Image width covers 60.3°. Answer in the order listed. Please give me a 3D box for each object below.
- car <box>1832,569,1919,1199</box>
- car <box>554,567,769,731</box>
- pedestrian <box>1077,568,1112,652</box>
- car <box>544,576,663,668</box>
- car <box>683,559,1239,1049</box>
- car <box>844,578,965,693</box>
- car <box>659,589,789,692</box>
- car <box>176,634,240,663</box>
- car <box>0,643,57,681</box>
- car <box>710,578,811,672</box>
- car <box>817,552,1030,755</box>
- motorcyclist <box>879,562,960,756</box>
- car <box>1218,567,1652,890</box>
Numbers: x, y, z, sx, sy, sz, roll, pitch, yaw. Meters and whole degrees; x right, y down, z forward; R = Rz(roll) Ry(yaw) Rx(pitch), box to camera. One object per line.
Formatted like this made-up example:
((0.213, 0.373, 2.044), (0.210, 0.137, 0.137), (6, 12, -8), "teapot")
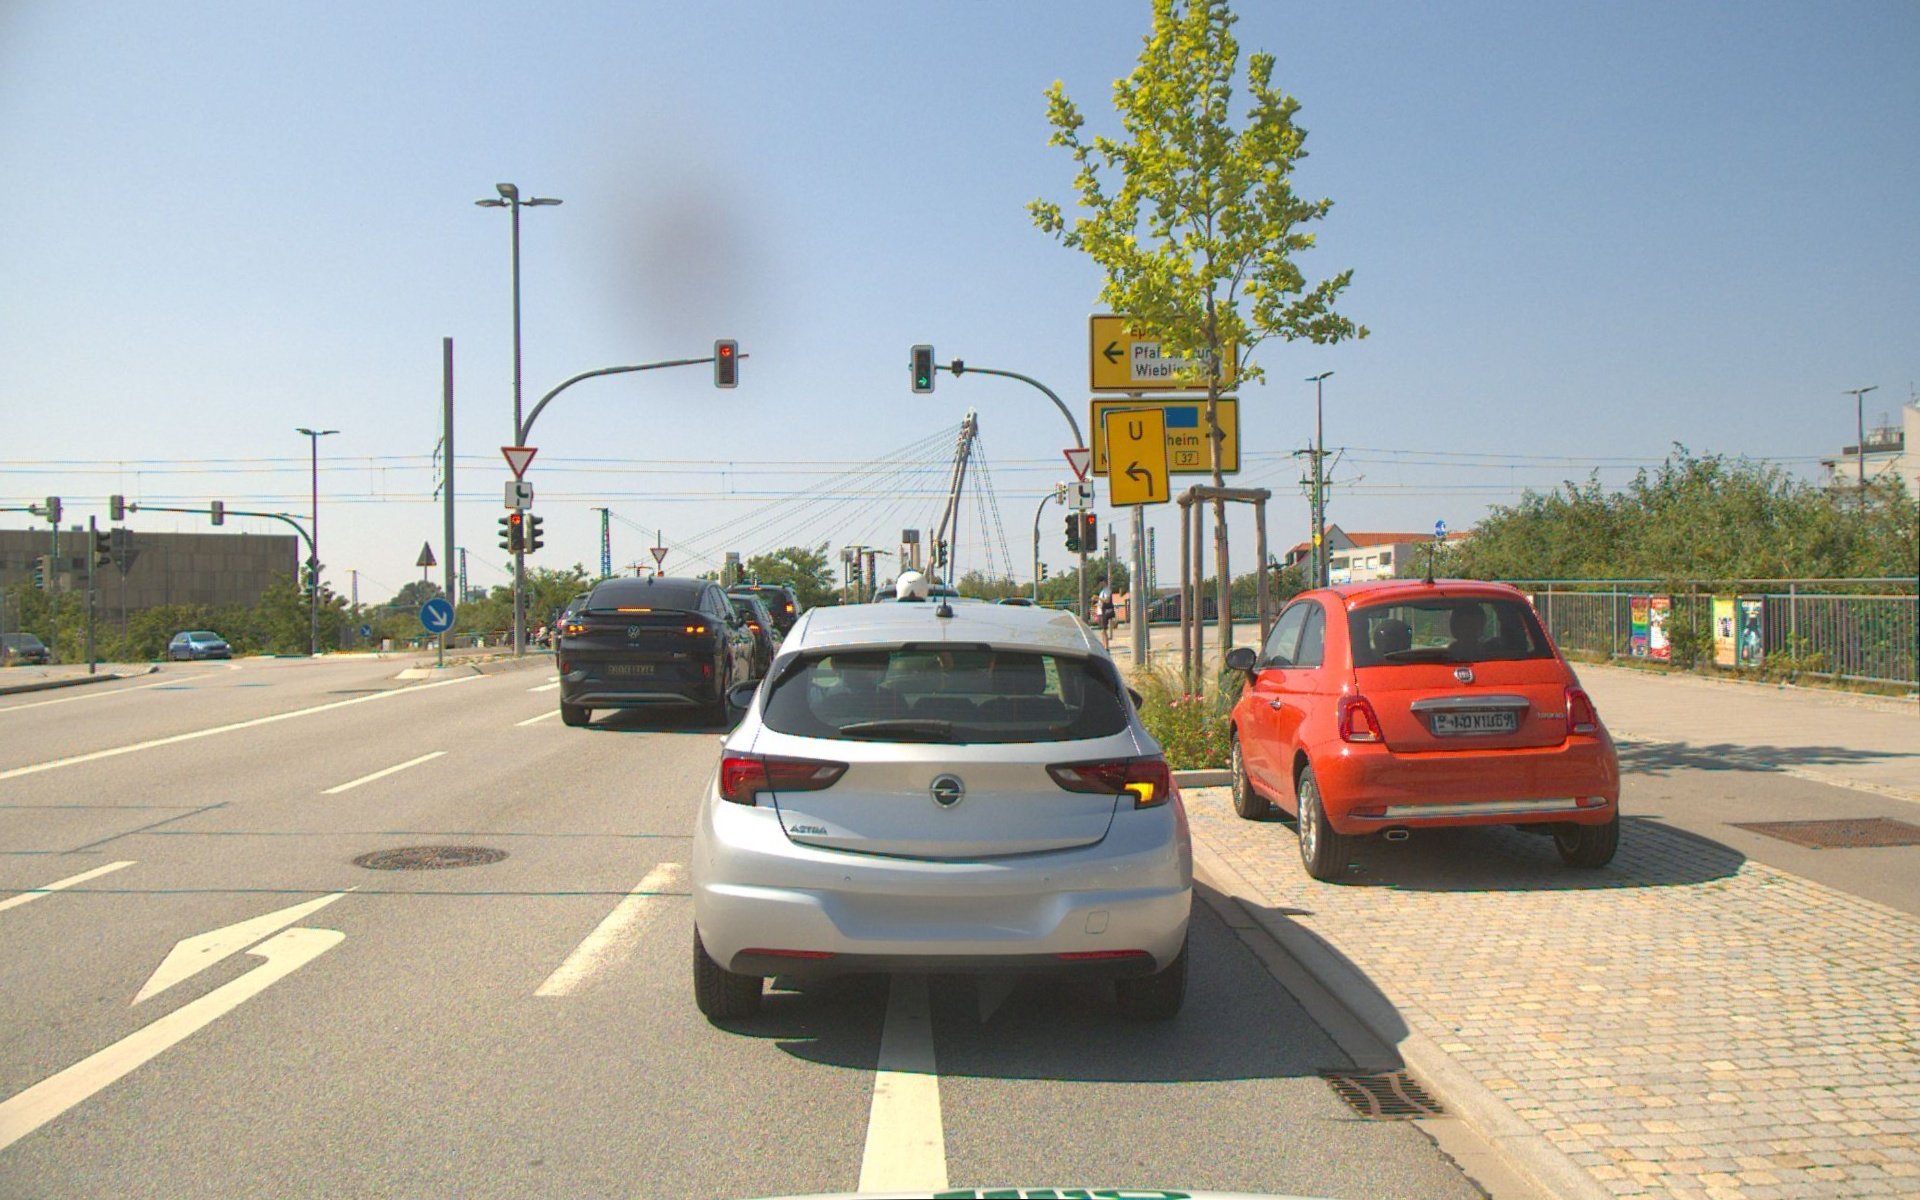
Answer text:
((2.925, 0.636, 1.929), (1.626, 1.451, 3.999), (-1, 0, -1), "car")
((-3.363, 0.519, 19.402), (1.765, 1.670, 4.365), (1, 0, -1), "car")
((3.044, 0.227, 37.392), (0.634, 1.868, 0.797), (-2, 0, -3), "pedestrian")
((-6.586, 0.393, 30.883), (1.565, 1.574, 3.760), (1, 0, -3), "car")
((-0.099, 0.646, 7.131), (1.708, 1.503, 3.997), (1, 0, -3), "car")
((-0.803, 0.471, 25.343), (1.689, 1.591, 4.000), (1, 1, -1), "car")
((-3.583, 0.587, 25.657), (1.543, 1.459, 3.785), (1, 0, -2), "car")
((-36.208, 2.329, 79.563), (1.806, 1.354, 3.941), (1, -2, -40), "car")
((-41.219, 2.726, 73.165), (1.662, 1.502, 3.358), (-1, 1, -39), "car")
((-3.745, 0.456, 31.561), (1.616, 1.643, 3.818), (1, 0, -3), "car")
((-0.374, 0.468, 17.583), (1.953, 1.852, 4.401), (1, 1, -1), "car")
((-0.299, 0.434, 12.450), (0.570, 1.413, 0.706), (1, -1, -1), "motorcyclist")
((2.594, 0.617, 9.796), (1.577, 1.522, 3.352), (-2, 0, 0), "car")
